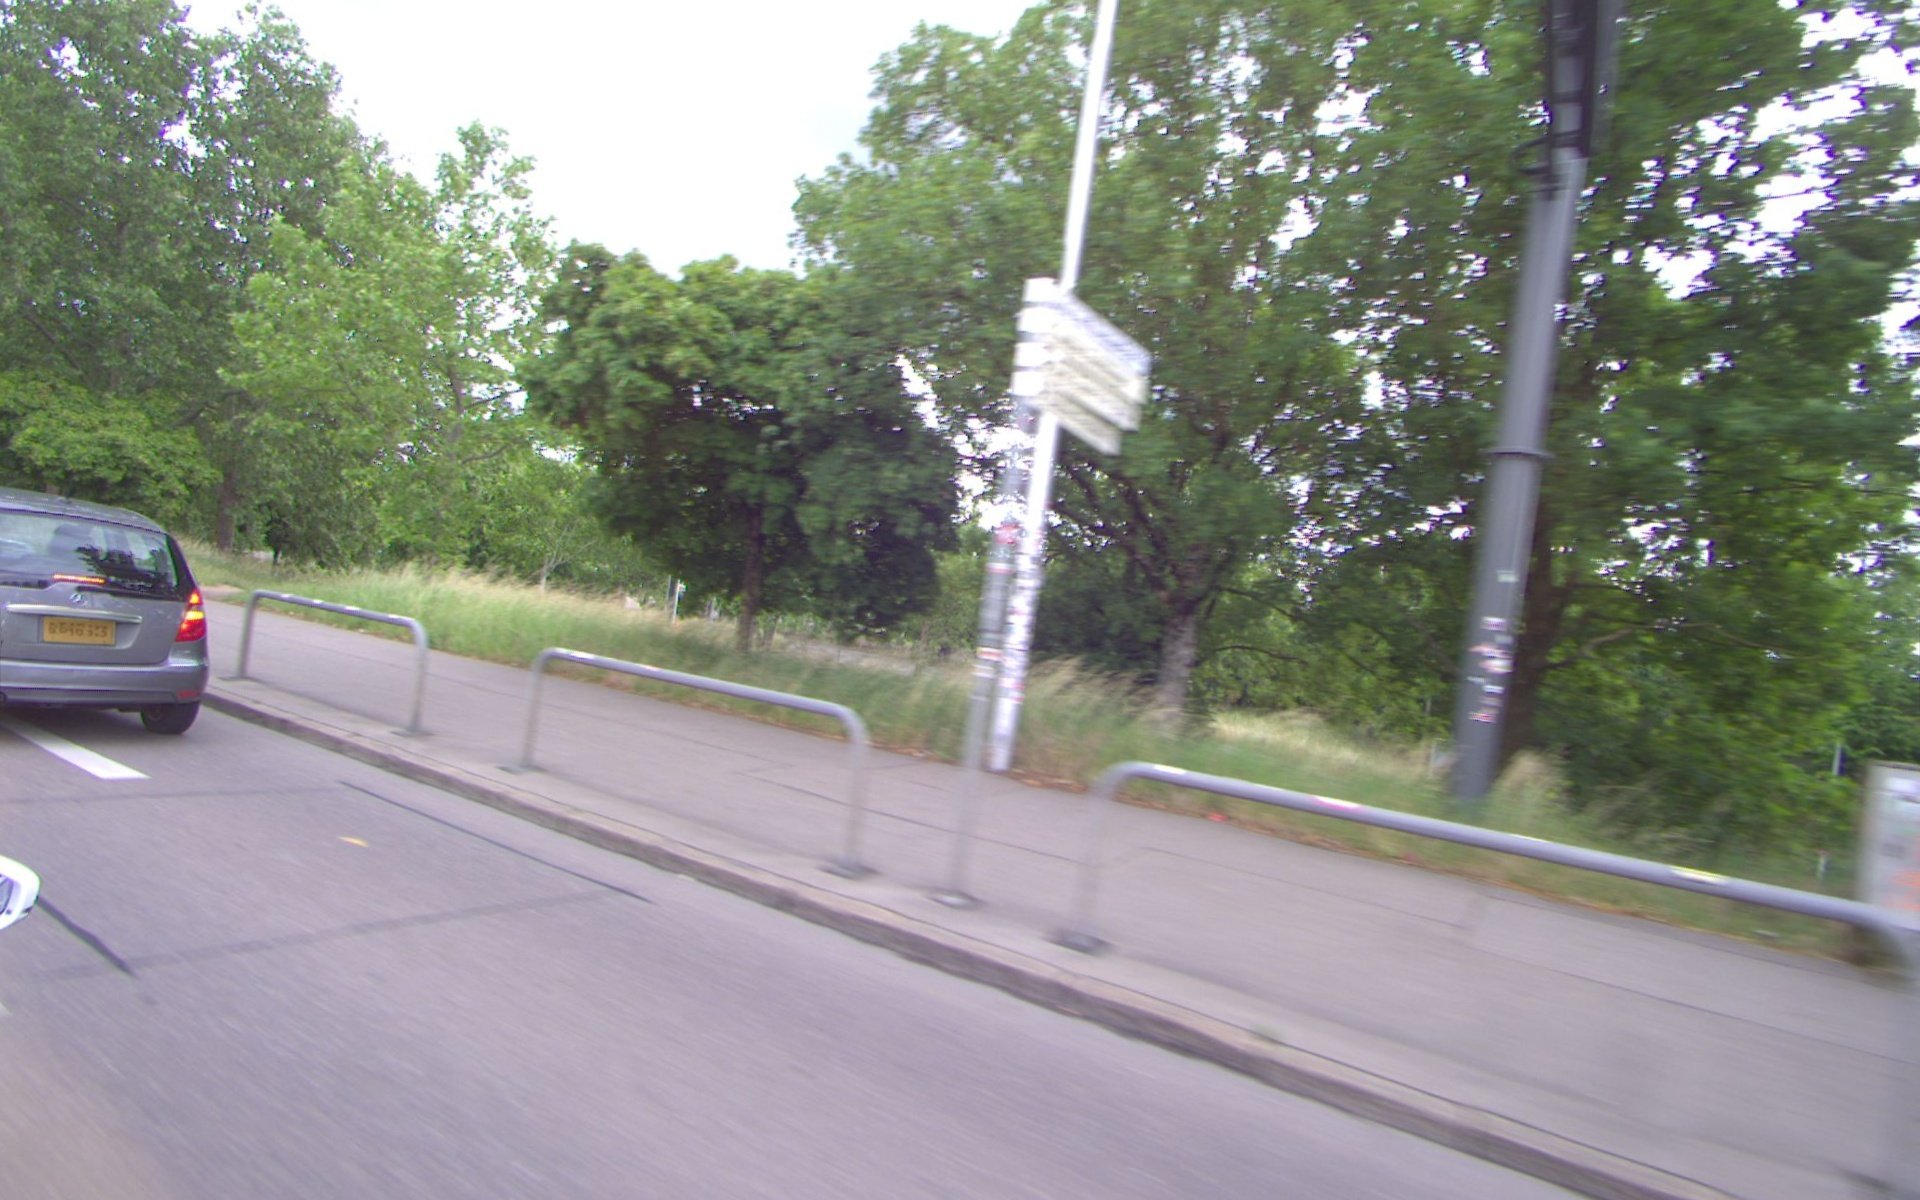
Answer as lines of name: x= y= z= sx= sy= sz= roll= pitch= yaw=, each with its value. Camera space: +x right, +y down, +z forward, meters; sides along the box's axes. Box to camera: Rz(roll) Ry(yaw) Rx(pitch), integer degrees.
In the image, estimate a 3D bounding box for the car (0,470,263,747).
car: x=-7.128 y=-0.108 z=7.344 sx=3.968 sy=1.635 sz=1.829 roll=7 pitch=-1 yaw=32
